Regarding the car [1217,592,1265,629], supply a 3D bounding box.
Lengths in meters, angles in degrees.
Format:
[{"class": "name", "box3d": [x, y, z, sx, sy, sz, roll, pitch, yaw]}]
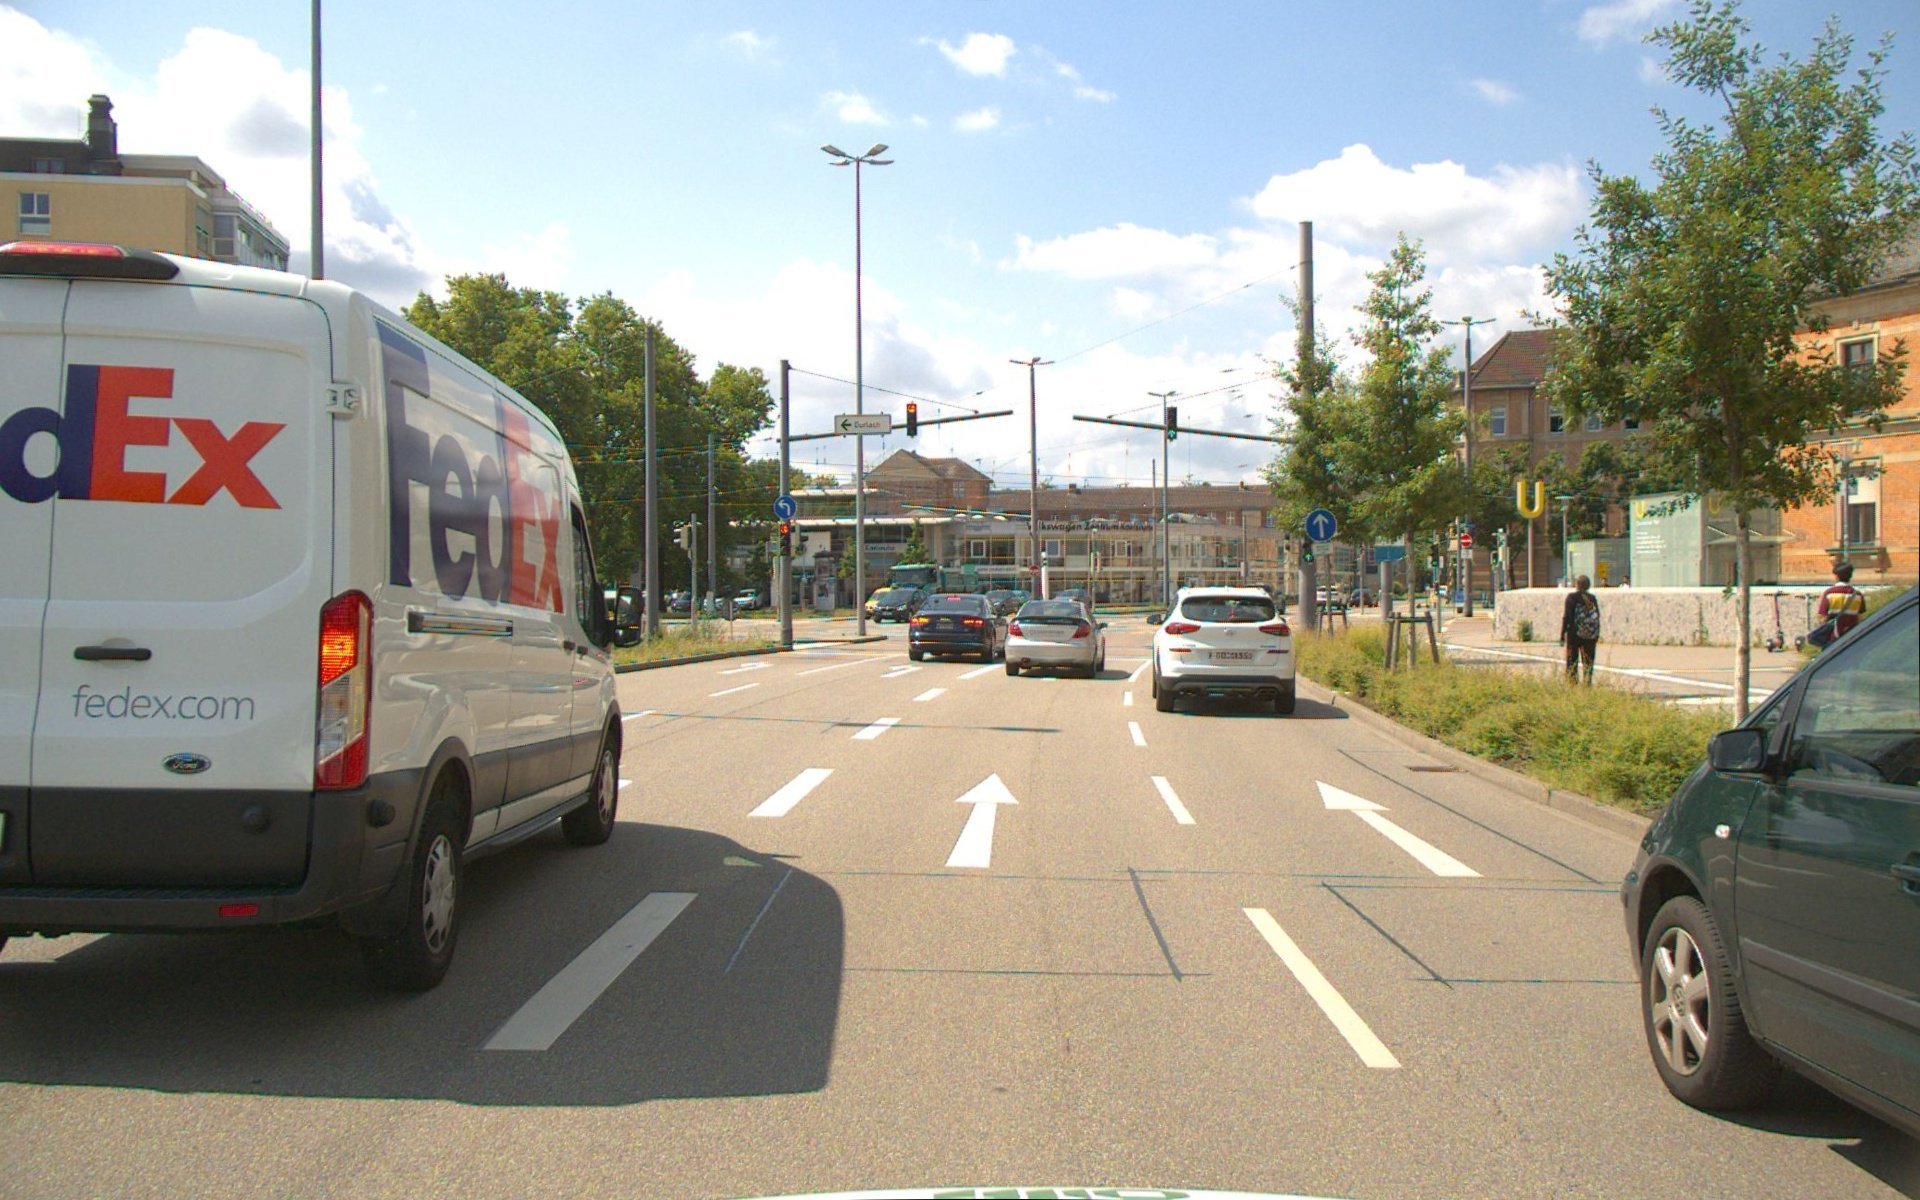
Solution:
[{"class": "car", "box3d": [13.308, 0.466, 78.083, 1.841, 1.670, 3.960, 0, 0, 15]}]

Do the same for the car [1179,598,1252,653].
[{"class": "car", "box3d": [7.222, 0.680, 46.523, 1.841, 1.444, 3.960, 0, 0, 11]}]

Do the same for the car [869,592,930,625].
[{"class": "car", "box3d": [-2.830, 0.371, 78.532, 1.618, 1.494, 4.156, -1, 0, 17]}]

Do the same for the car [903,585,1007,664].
[{"class": "car", "box3d": [-0.039, 0.501, 37.421, 1.887, 1.670, 4.795, 0, 0, 5]}]

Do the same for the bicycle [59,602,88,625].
[{"class": "bicycle", "box3d": [-45.998, 0.713, 85.826, 2.093, 1.167, 0.509, 0, -1, 37]}]

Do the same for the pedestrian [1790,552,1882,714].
[{"class": "pedestrian", "box3d": [10.254, 0.386, 19.385, 0.740, 1.853, 0.674, 1, -1, 4]}]

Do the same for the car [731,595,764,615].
[{"class": "car", "box3d": [-18.017, 0.420, 140.100, 1.951, 1.601, 4.180, 1, -1, 4]}]

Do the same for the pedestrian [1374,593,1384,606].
[{"class": "pedestrian", "box3d": [29.904, -0.021, 117.989, 0.514, 0.922, 1.561, 0, -1, 21]}]

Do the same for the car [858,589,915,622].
[{"class": "car", "box3d": [-4.341, 0.305, 97.848, 1.682, 1.832, 4.742, -1, 0, 20]}]

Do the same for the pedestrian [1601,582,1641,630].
[{"class": "pedestrian", "box3d": [24.305, 0.216, 60.821, 0.952, 1.686, 0.856, -2, -2, -26]}]

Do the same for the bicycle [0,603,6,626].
[{"class": "bicycle", "box3d": [-50.421, 0.728, 85.396, 1.902, 1.167, 0.527, 1, -1, -5]}]

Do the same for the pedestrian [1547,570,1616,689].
[{"class": "pedestrian", "box3d": [8.685, 0.410, 23.139, 0.740, 1.617, 0.762, 0, -1, 6]}]

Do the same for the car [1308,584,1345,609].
[{"class": "car", "box3d": [25.318, -0.252, 114.202, 1.843, 1.670, 3.956, 0, 0, 22]}]

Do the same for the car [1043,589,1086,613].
[{"class": "car", "box3d": [7.083, 0.064, 111.904, 1.683, 1.558, 4.121, -1, 0, 22]}]

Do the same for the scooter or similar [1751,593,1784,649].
[{"class": "scooter or similar", "box3d": [17.017, 0.434, 34.845, 0.227, 1.143, 1.274, -1, 1, 44]}]

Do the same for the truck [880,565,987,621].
[{"class": "truck", "box3d": [-1.361, -0.389, 91.685, 2.826, 2.902, 8.792, -1, 0, 21]}]

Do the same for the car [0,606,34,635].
[{"class": "car", "box3d": [-45.081, 0.951, 77.854, 3.297, 1.344, 1.648, 0, 0, 43]}]

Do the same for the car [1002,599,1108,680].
[{"class": "car", "box3d": [1.884, 0.698, 31.726, 1.704, 1.416, 4.183, 0, 0, 8]}]

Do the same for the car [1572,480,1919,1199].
[{"class": "car", "box3d": [3.101, 0.620, 3.659, 1.758, 1.753, 4.447, 2, 0, -1]}]

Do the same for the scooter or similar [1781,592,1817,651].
[{"class": "scooter or similar", "box3d": [17.170, 0.424, 33.840, 0.227, 1.143, 1.443, -1, 1, 44]}]

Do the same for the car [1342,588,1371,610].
[{"class": "car", "box3d": [30.382, -0.065, 126.613, 1.841, 1.670, 3.959, 0, 0, 18]}]

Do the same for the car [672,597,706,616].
[{"class": "car", "box3d": [-23.038, 0.580, 140.797, 1.951, 1.601, 4.180, 1, -1, 4]}]

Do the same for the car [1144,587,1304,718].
[{"class": "car", "box3d": [3.625, 0.664, 23.364, 1.841, 1.670, 4.235, 0, 0, 4]}]

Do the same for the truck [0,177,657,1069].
[{"class": "truck", "box3d": [-2.944, 0.085, 7.937, 2.094, 2.686, 5.914, 1, 0, -2]}]

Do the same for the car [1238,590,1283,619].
[{"class": "car", "box3d": [17.498, 0.260, 96.236, 1.842, 1.670, 3.957, 0, 0, 21]}]

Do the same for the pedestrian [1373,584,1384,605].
[{"class": "pedestrian", "box3d": [29.914, -0.406, 118.104, 0.678, 1.483, 0.680, 0, -1, 22]}]

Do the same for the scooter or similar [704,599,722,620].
[{"class": "scooter or similar", "box3d": [-13.504, 0.498, 90.464, 0.370, 1.135, 1.094, 0, -1, 26]}]
